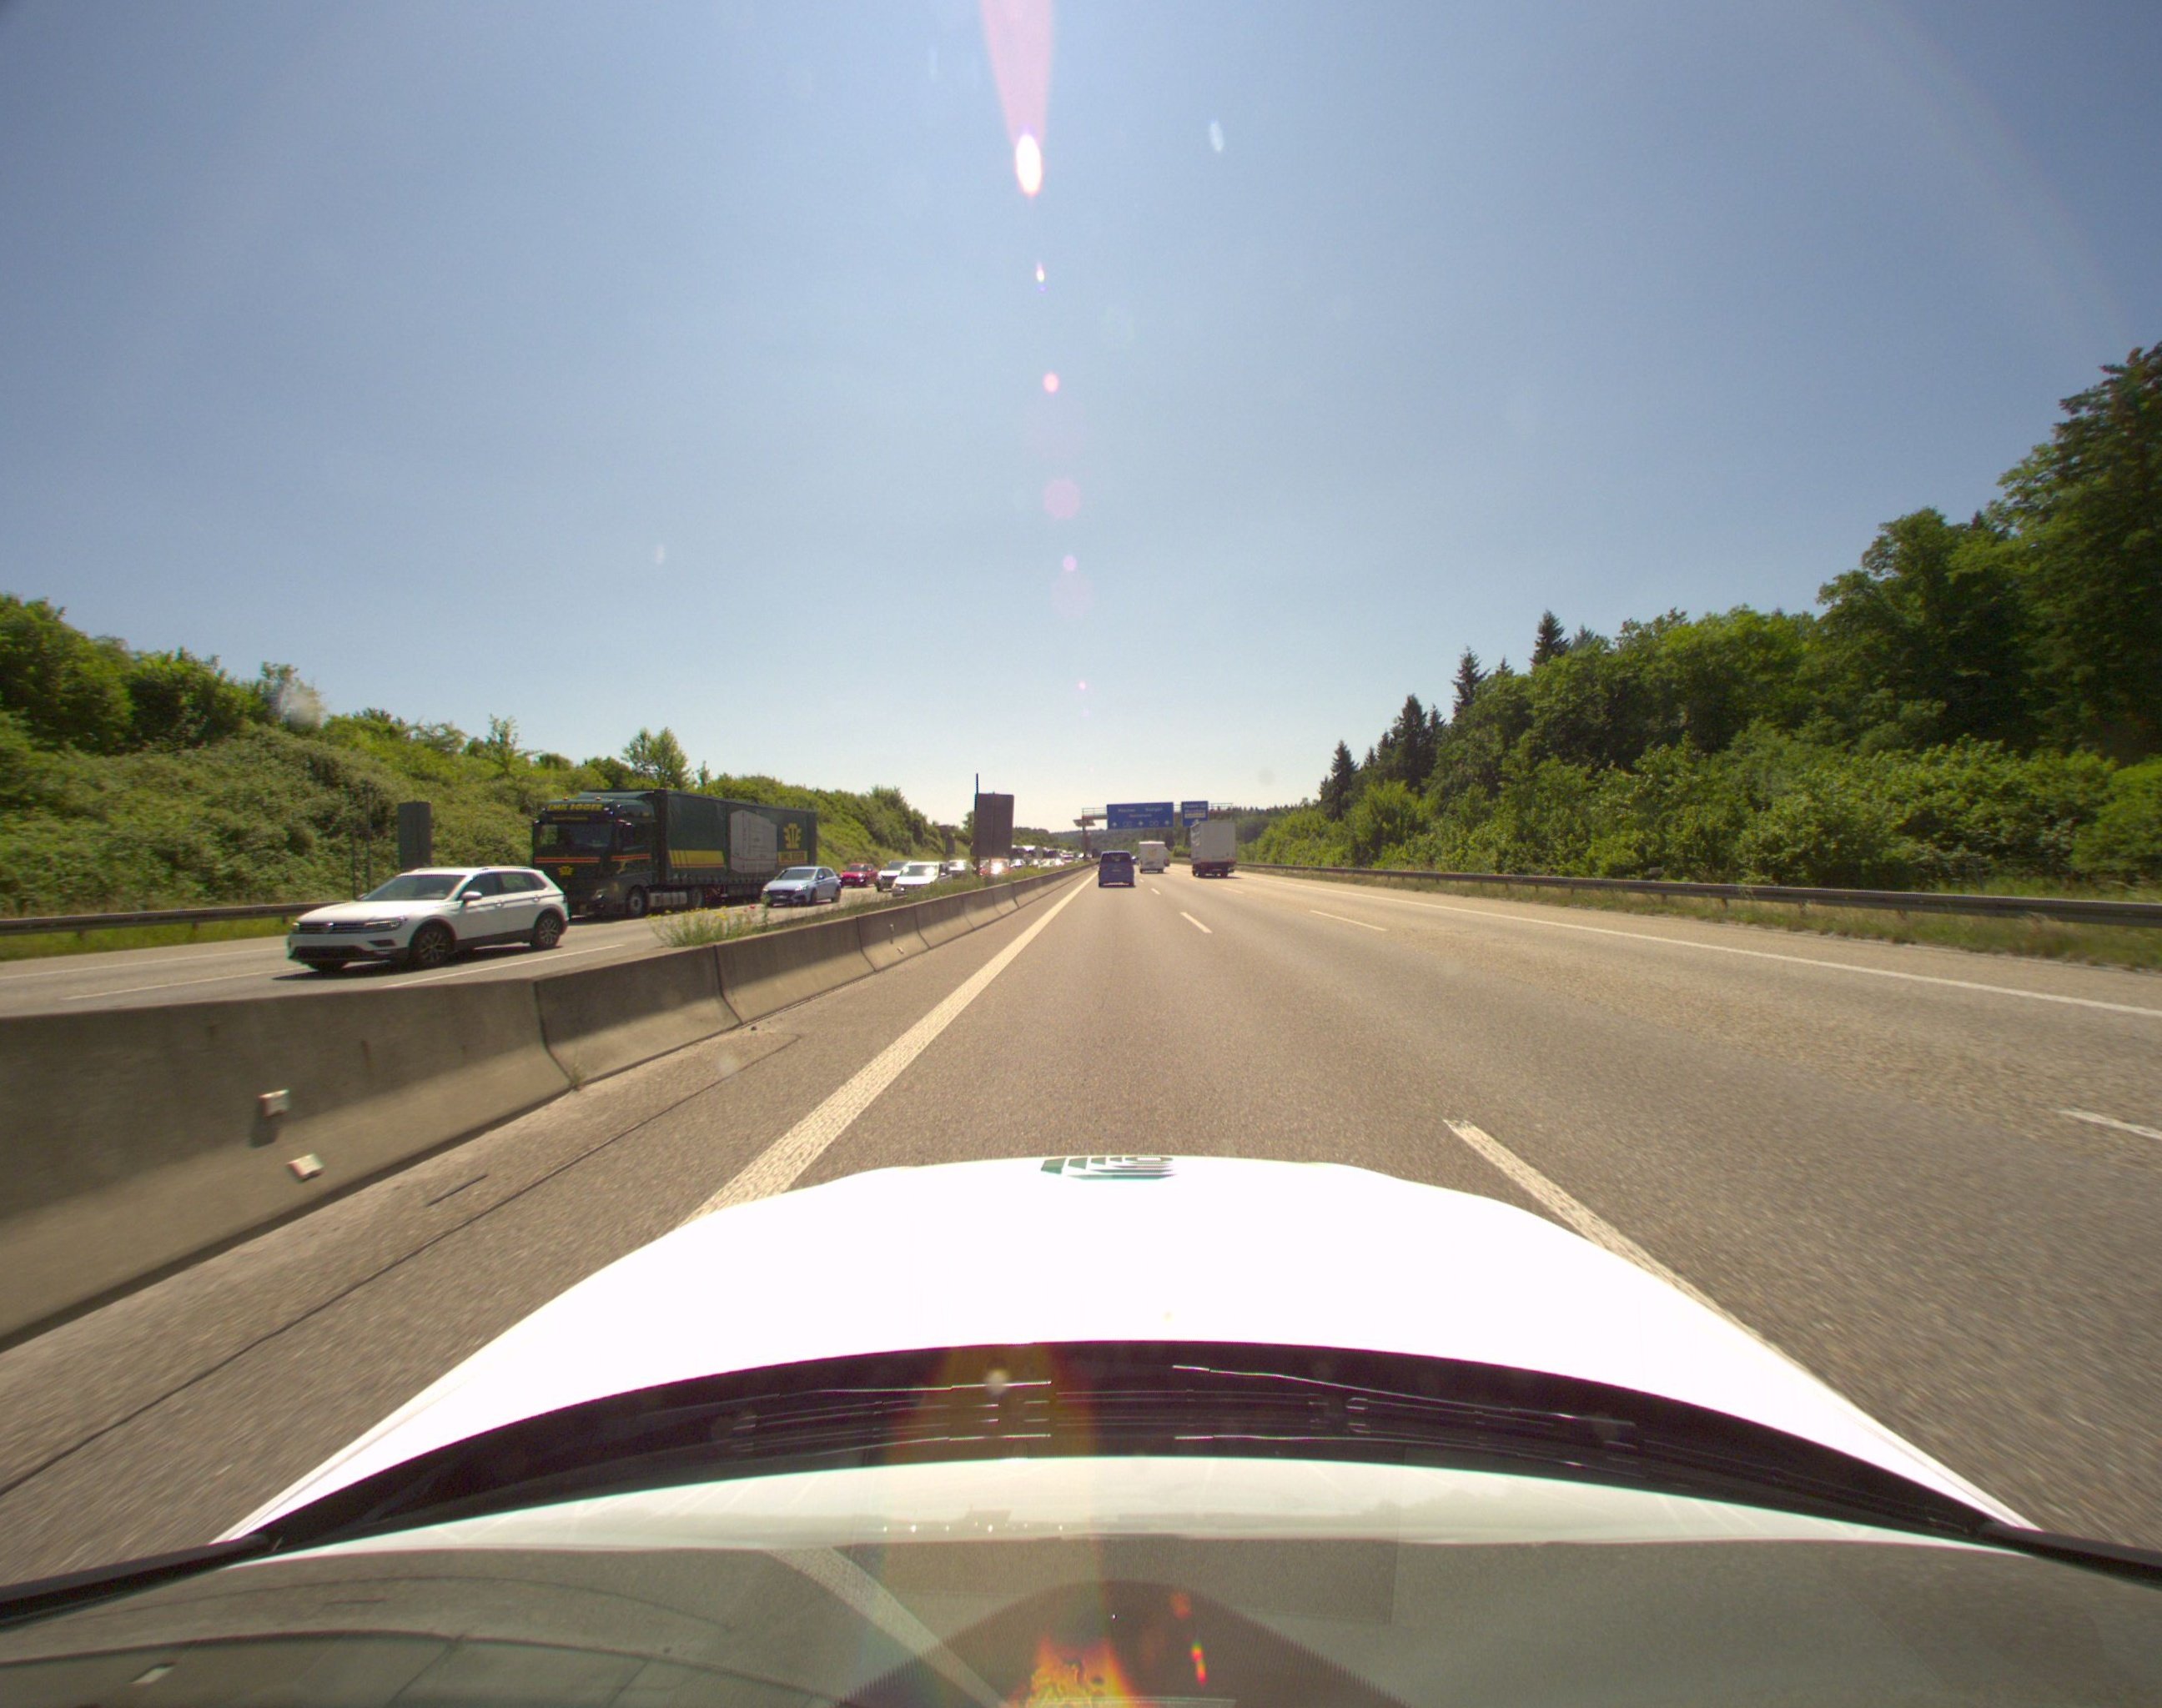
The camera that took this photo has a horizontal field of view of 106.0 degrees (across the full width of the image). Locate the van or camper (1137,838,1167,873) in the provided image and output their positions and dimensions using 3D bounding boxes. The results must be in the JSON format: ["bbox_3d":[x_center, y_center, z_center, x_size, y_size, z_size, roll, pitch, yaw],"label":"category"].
[{"bbox_3d":[6.874,0.066,79.660,2.592,3.078,7.188,0,2,3],"label":"van or camper"}]

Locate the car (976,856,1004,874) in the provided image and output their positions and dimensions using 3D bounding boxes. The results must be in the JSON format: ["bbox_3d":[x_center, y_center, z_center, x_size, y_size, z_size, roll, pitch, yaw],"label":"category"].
[{"bbox_3d":[-8.524,1.061,76.715,1.804,1.629,5.385,0,-1,3],"label":"car"}]

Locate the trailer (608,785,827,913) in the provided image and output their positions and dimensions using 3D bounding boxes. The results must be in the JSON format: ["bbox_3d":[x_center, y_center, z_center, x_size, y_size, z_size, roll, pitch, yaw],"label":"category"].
[{"bbox_3d":[-14.190,-0.090,33.703,2.831,4.262,12.793,0,-1,3],"label":"trailer"}]

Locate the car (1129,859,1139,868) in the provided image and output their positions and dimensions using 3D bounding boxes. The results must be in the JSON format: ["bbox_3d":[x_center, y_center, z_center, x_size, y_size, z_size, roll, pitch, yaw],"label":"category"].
[{"bbox_3d":[10.426,1.838,159.432,1.810,1.794,3.897,0,-1,3],"label":"car"}]

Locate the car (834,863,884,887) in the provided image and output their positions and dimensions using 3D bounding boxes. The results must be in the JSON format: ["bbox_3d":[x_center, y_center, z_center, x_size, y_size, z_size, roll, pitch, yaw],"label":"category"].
[{"bbox_3d":[-13.787,1.279,50.803,1.804,1.467,4.125,0,-1,3],"label":"car"}]

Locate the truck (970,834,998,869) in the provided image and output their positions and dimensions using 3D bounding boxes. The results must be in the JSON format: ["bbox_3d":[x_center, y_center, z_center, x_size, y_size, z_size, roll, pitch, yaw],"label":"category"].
[{"bbox_3d":[-11.755,-0.266,98.984,2.593,4.065,6.133,0,-1,1],"label":"truck"}]

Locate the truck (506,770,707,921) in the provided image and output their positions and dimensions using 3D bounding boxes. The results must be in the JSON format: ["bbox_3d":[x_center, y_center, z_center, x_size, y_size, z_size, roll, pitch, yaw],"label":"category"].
[{"bbox_3d":[-14.632,-0.207,25.689,2.807,4.203,5.633,0,-1,3],"label":"truck"}]

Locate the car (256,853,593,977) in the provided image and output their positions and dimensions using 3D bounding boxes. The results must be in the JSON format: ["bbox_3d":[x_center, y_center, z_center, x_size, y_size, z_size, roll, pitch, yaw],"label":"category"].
[{"bbox_3d":[-11.113,0.923,14.416,1.821,1.764,4.991,-2,-1,1],"label":"car"}]

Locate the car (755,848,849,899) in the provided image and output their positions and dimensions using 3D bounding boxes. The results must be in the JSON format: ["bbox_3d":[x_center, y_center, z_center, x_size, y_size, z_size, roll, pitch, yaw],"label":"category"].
[{"bbox_3d":[-10.548,0.713,31.236,1.821,1.764,4.991,0,-1,1],"label":"car"}]

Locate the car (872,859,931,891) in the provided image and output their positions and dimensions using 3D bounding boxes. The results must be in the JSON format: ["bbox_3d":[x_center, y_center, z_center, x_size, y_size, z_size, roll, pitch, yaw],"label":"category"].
[{"bbox_3d":[-9.720,1.119,44.465,1.804,1.629,5.222,0,-1,3],"label":"car"}]

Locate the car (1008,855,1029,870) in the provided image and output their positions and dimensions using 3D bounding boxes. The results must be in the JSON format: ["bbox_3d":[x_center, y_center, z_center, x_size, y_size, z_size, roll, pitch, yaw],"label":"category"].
[{"bbox_3d":[-7.738,1.090,101.271,1.855,1.752,5.905,0,-1,3],"label":"car"}]

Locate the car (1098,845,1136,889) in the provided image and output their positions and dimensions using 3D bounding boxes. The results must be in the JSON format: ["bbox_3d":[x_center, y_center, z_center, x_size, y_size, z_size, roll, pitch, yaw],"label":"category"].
[{"bbox_3d":[1.906,0.649,43.792,1.902,2.013,4.003,-2,2,2],"label":"car"}]

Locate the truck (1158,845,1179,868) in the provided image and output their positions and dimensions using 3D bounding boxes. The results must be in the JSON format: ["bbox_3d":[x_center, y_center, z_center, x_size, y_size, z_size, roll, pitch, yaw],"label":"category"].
[{"bbox_3d":[14.285,0.333,133.270,2.916,3.575,8.533,-2,0,3],"label":"truck"}]

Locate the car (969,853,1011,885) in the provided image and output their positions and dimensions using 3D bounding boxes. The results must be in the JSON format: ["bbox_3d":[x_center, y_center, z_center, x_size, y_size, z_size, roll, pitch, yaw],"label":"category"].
[{"bbox_3d":[-5.329,0.890,48.362,1.821,1.764,4.991,0,-1,1],"label":"car"}]

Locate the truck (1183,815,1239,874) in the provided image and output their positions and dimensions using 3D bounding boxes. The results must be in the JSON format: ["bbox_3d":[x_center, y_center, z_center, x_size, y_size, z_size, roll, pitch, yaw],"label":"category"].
[{"bbox_3d":[9.643,-0.614,61.533,2.774,4.128,9.740,0,-1,1],"label":"truck"}]

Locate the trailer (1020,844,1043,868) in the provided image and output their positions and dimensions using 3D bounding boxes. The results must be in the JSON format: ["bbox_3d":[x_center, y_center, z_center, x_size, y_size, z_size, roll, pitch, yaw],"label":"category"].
[{"bbox_3d":[-9.243,0.359,154.441,2.769,4.305,11.721,-2,-1,4],"label":"trailer"}]

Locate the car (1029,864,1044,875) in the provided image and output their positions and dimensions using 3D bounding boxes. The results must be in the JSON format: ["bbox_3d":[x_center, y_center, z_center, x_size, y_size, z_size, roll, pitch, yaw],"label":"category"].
[{"bbox_3d":[-6.508,2.257,119.312,1.768,1.613,4.561,0,-1,3],"label":"car"}]

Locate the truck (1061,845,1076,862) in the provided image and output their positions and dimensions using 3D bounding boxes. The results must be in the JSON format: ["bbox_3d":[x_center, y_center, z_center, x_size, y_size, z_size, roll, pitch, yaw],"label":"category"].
[{"bbox_3d":[-2.132,-0.073,136.442,2.111,2.842,6.216,0,-1,3],"label":"truck"}]

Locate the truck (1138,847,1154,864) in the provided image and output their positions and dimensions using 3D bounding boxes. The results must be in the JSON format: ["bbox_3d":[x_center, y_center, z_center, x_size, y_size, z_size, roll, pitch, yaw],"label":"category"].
[{"bbox_3d":[15.657,0.412,197.107,3.473,4.170,8.647,0,-1,3],"label":"truck"}]

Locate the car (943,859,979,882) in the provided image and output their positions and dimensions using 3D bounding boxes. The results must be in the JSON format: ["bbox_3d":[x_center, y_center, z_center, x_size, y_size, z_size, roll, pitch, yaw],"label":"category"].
[{"bbox_3d":[-8.949,1.195,61.089,1.804,1.629,4.912,0,-1,3],"label":"car"}]

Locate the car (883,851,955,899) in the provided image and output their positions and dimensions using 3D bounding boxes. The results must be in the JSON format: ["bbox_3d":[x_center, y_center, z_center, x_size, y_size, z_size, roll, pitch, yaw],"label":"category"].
[{"bbox_3d":[-6.389,0.817,32.643,1.821,1.764,4.991,0,-1,1],"label":"car"}]

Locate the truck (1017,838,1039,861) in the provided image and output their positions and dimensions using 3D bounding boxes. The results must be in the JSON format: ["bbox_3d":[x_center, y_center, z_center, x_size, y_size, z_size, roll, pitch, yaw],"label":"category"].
[{"bbox_3d":[-9.647,-0.734,149.065,2.768,4.114,7.038,-2,-1,5],"label":"truck"}]
